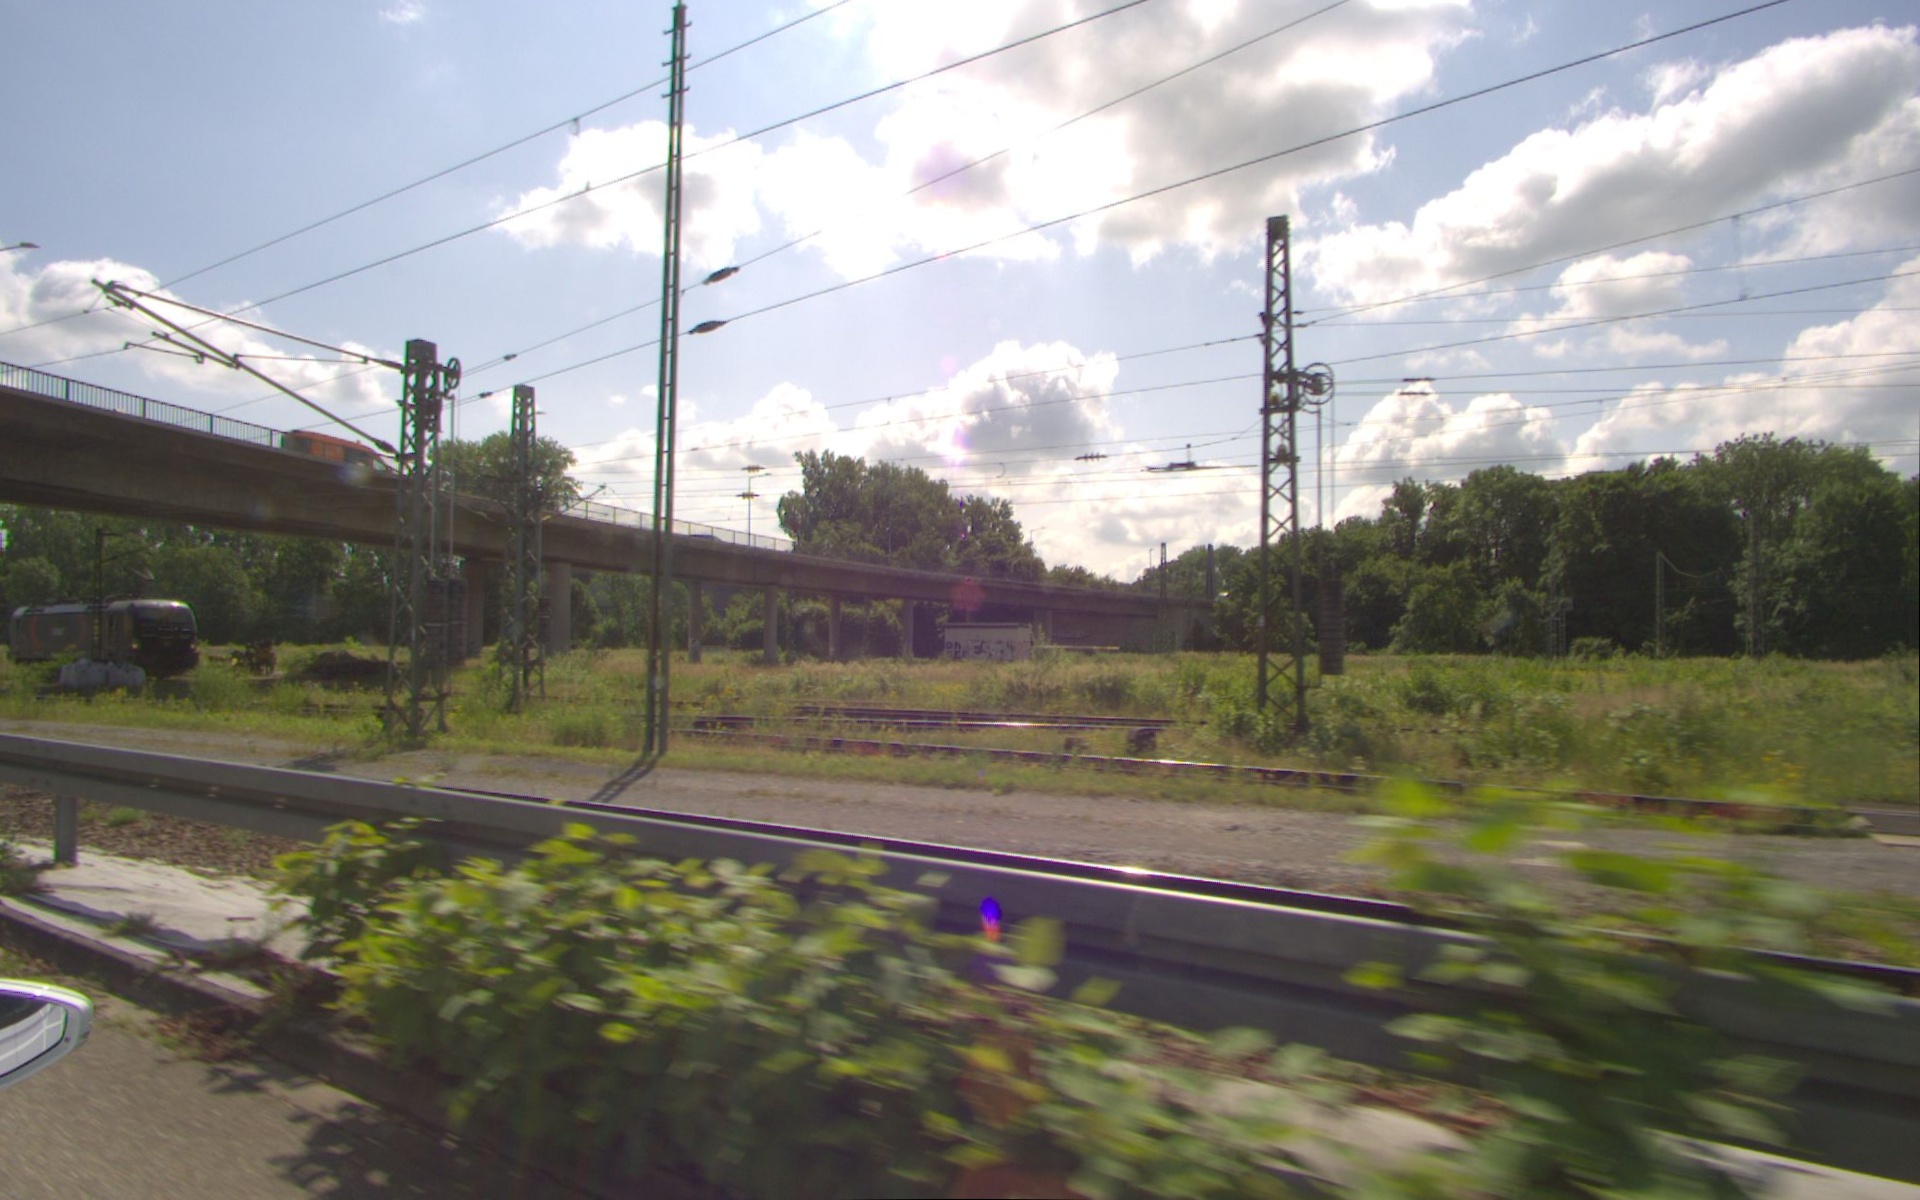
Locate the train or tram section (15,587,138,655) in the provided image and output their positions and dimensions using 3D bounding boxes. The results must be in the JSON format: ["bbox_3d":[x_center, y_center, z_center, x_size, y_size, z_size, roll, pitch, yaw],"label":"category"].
[{"bbox_3d":[-48.329,1.238,54.707,8.121,3.520,2.752,-2,-3,32],"label":"train or tram section"}]

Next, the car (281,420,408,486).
[{"bbox_3d":[-28.009,-6.624,45.793,1.962,2.039,5.336,-2,-1,8],"label":"car"}]

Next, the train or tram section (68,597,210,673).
[{"bbox_3d":[-41.297,1.801,50.285,8.442,3.552,2.887,-2,-3,32],"label":"train or tram section"}]
